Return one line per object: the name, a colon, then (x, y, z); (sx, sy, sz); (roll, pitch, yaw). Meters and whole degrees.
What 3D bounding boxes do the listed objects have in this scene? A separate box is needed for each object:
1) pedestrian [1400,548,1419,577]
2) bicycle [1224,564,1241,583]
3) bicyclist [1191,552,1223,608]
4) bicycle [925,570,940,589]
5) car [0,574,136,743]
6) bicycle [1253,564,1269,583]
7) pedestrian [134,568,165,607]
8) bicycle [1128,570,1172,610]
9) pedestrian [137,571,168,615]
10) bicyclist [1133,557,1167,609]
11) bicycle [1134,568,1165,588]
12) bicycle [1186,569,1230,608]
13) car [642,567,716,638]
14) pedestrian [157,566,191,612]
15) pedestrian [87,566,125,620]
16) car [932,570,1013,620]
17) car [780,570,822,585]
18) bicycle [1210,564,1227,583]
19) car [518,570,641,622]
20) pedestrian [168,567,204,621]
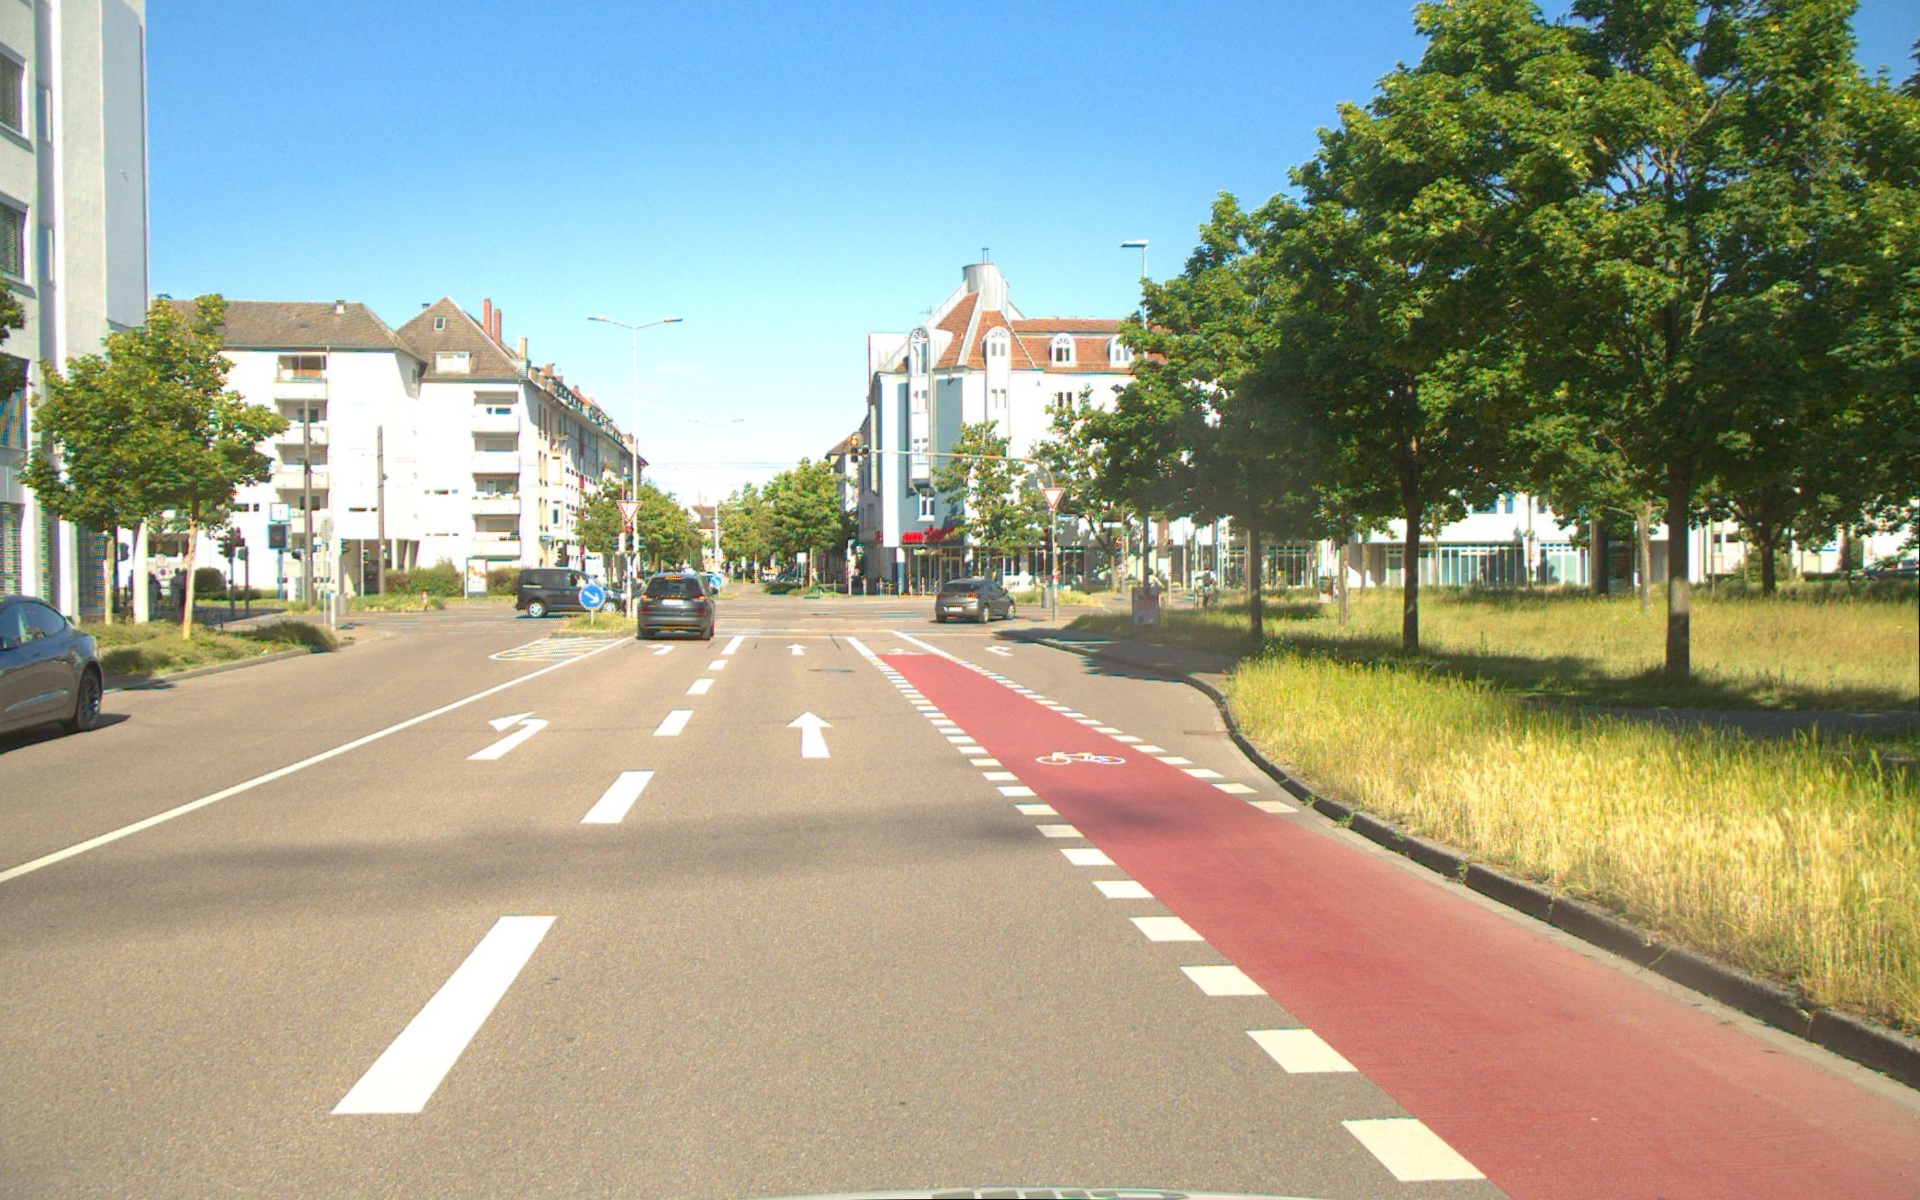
pedestrian: (28.145, -2.342, 103.588); (0.971, 1.753, 0.653); (-1, 1, -8)
bicycle: (17.230, -1.675, 104.569); (0.550, 1.203, 1.866); (-1, 1, -8)
bicyclist: (8.891, -0.734, 59.568); (0.776, 1.993, 1.009); (0, 1, 31)
bicycle: (-1.562, -1.164, 94.680); (0.464, 1.045, 1.509); (-1, 1, -17)
car: (-9.526, 0.516, 15.803); (1.657, 1.494, 4.538); (-1, 1, -9)
bicycle: (19.054, -1.668, 104.718); (0.549, 1.203, 1.868); (-1, 1, -5)
pedestrian: (-37.301, -0.591, 76.118); (1.131, 1.756, 0.810); (0, 1, 35)
bicycle: (6.822, -0.371, 59.445); (0.776, 1.371, 2.074); (0, 1, 31)
pedestrian: (-32.521, -0.293, 66.605); (0.796, 1.756, 1.151); (-1, 1, -11)
bicyclist: (6.830, -0.620, 59.472); (0.776, 1.856, 1.133); (0, 1, 31)
bicycle: (11.781, -1.395, 102.771); (1.830, 1.203, 0.561); (-1, 1, -11)
bicycle: (8.975, -0.424, 59.701); (0.776, 1.371, 2.258); (0, 1, 31)
car: (-7.159, 0.029, 42.313); (1.721, 1.656, 4.469); (2, 1, -9)
pedestrian: (-31.189, -0.437, 65.627); (0.904, 1.801, 1.151); (-1, 1, -11)
pedestrian: (-28.236, -0.233, 54.697); (0.796, 1.756, 1.151); (-1, 1, -11)
car: (0.466, -0.181, 56.914); (1.653, 1.605, 3.873); (2, 1, 18)
car: (-14.079, -1.971, 146.604); (3.510, 1.244, 1.723); (0, 0, -17)
bicycle: (16.340, -1.698, 104.497); (0.550, 1.203, 1.866); (-1, 1, -8)
car: (-14.377, -0.161, 62.674); (4.401, 1.832, 1.760); (2, 0, -10)
pedestrian: (-25.727, -0.212, 55.016); (0.796, 1.756, 1.151); (-1, 1, -11)
